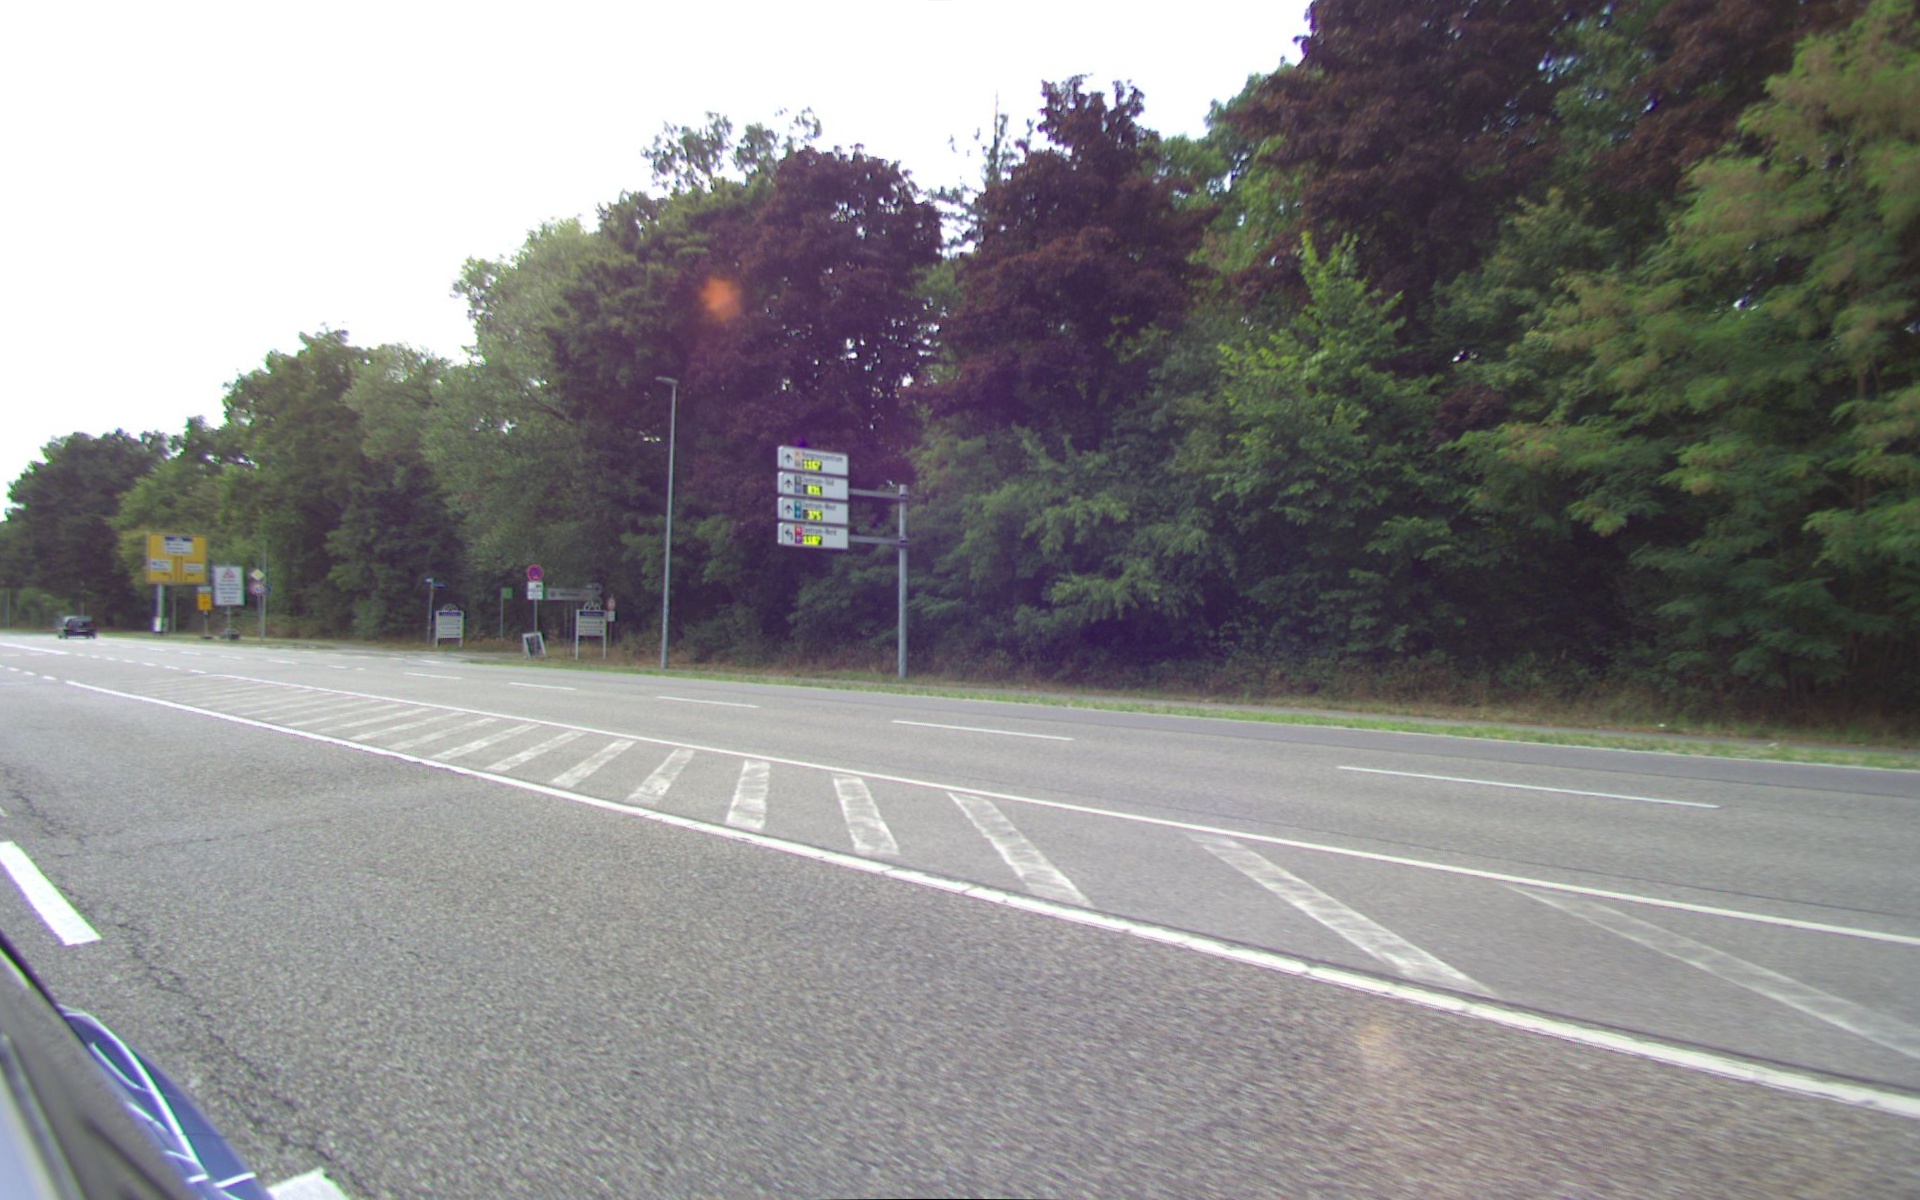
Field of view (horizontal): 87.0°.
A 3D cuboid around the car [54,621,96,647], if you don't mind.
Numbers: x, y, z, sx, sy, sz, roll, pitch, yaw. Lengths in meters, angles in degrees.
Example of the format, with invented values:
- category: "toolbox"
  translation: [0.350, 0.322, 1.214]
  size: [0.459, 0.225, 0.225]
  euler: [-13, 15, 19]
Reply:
- category: "car"
  translation: [-57.810, 2.207, 66.079]
  size: [4.001, 1.486, 1.722]
  euler: [0, 1, 44]
